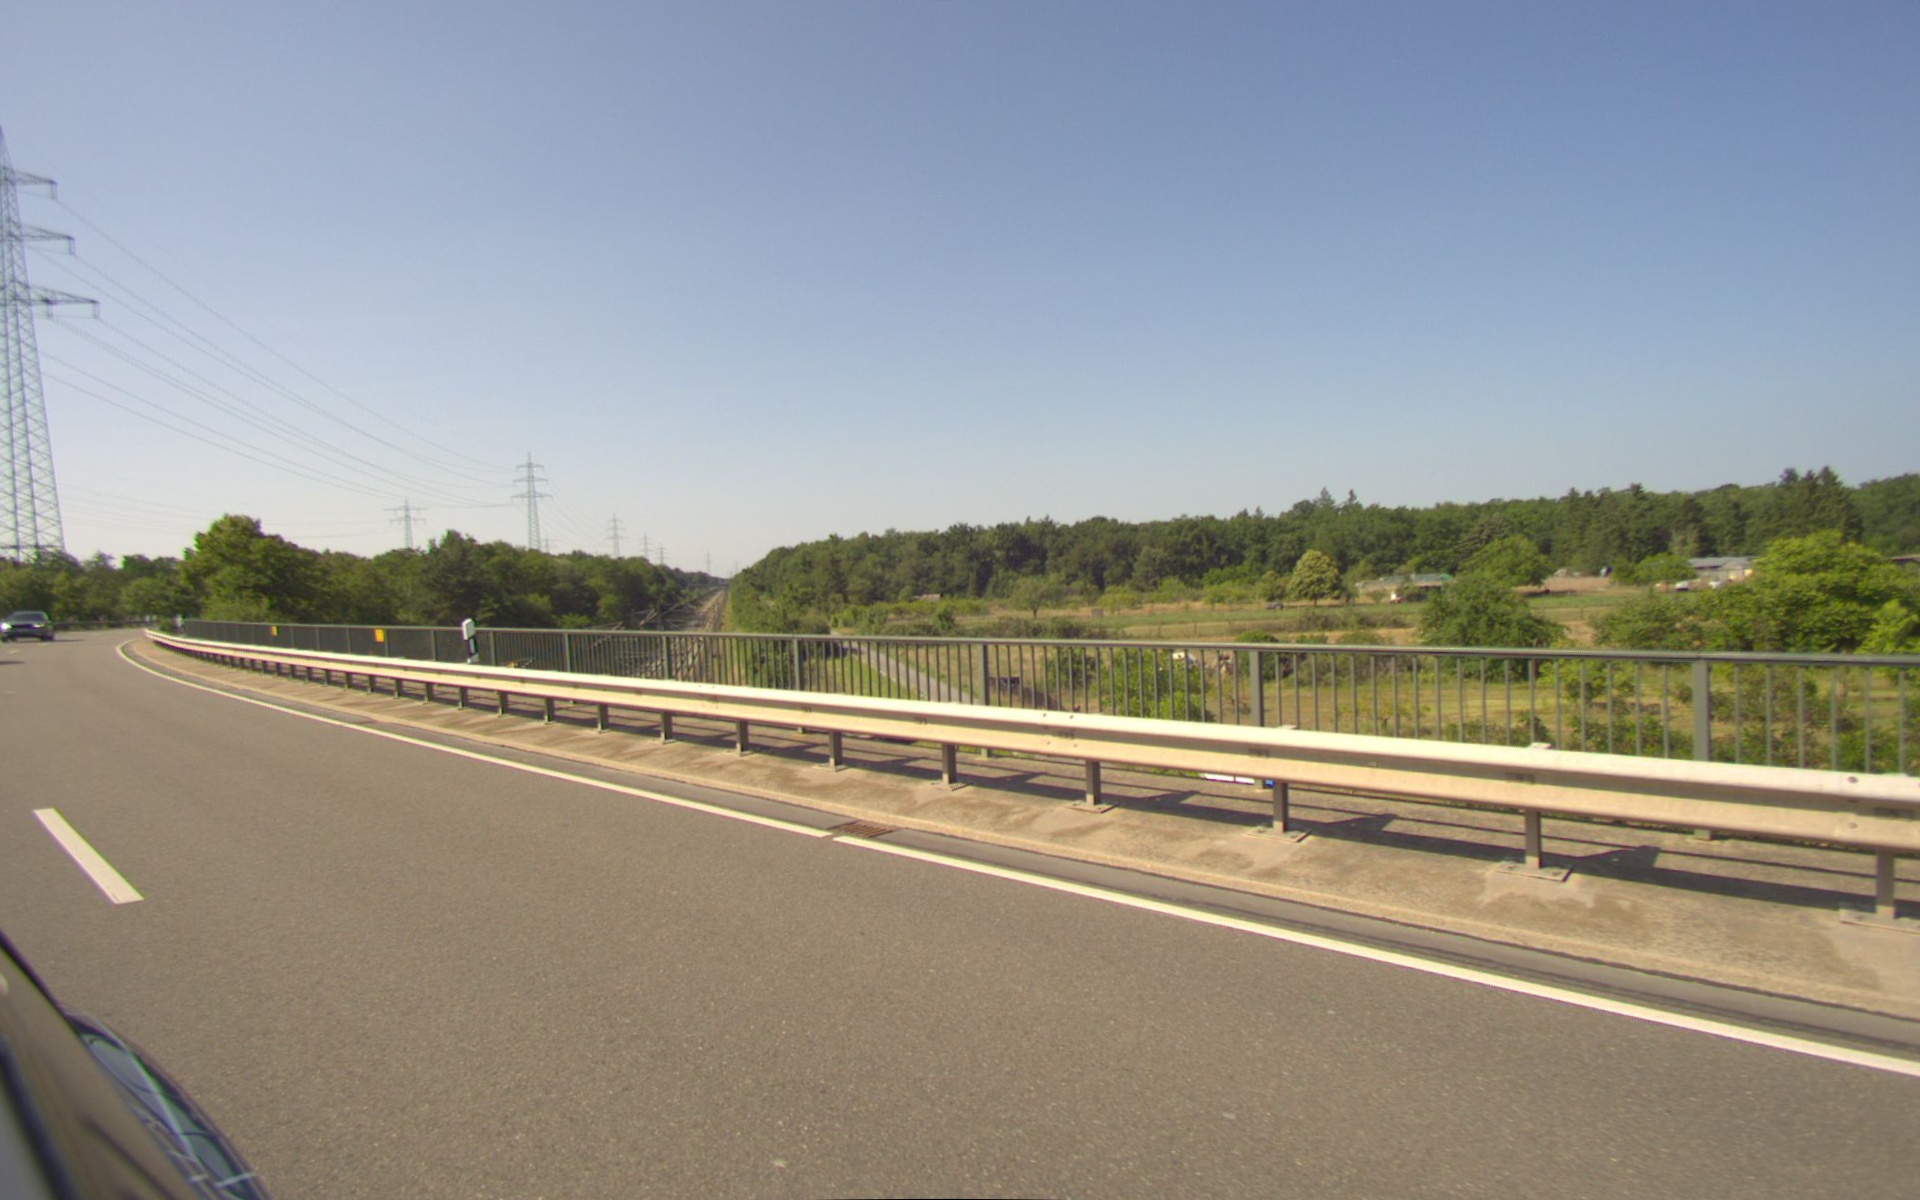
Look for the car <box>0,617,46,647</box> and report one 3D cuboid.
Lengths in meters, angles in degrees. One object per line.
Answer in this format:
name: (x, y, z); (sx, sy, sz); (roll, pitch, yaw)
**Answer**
car: (-52.490, 1.771, 56.665); (1.582, 1.506, 4.009); (-1, 1, -37)
